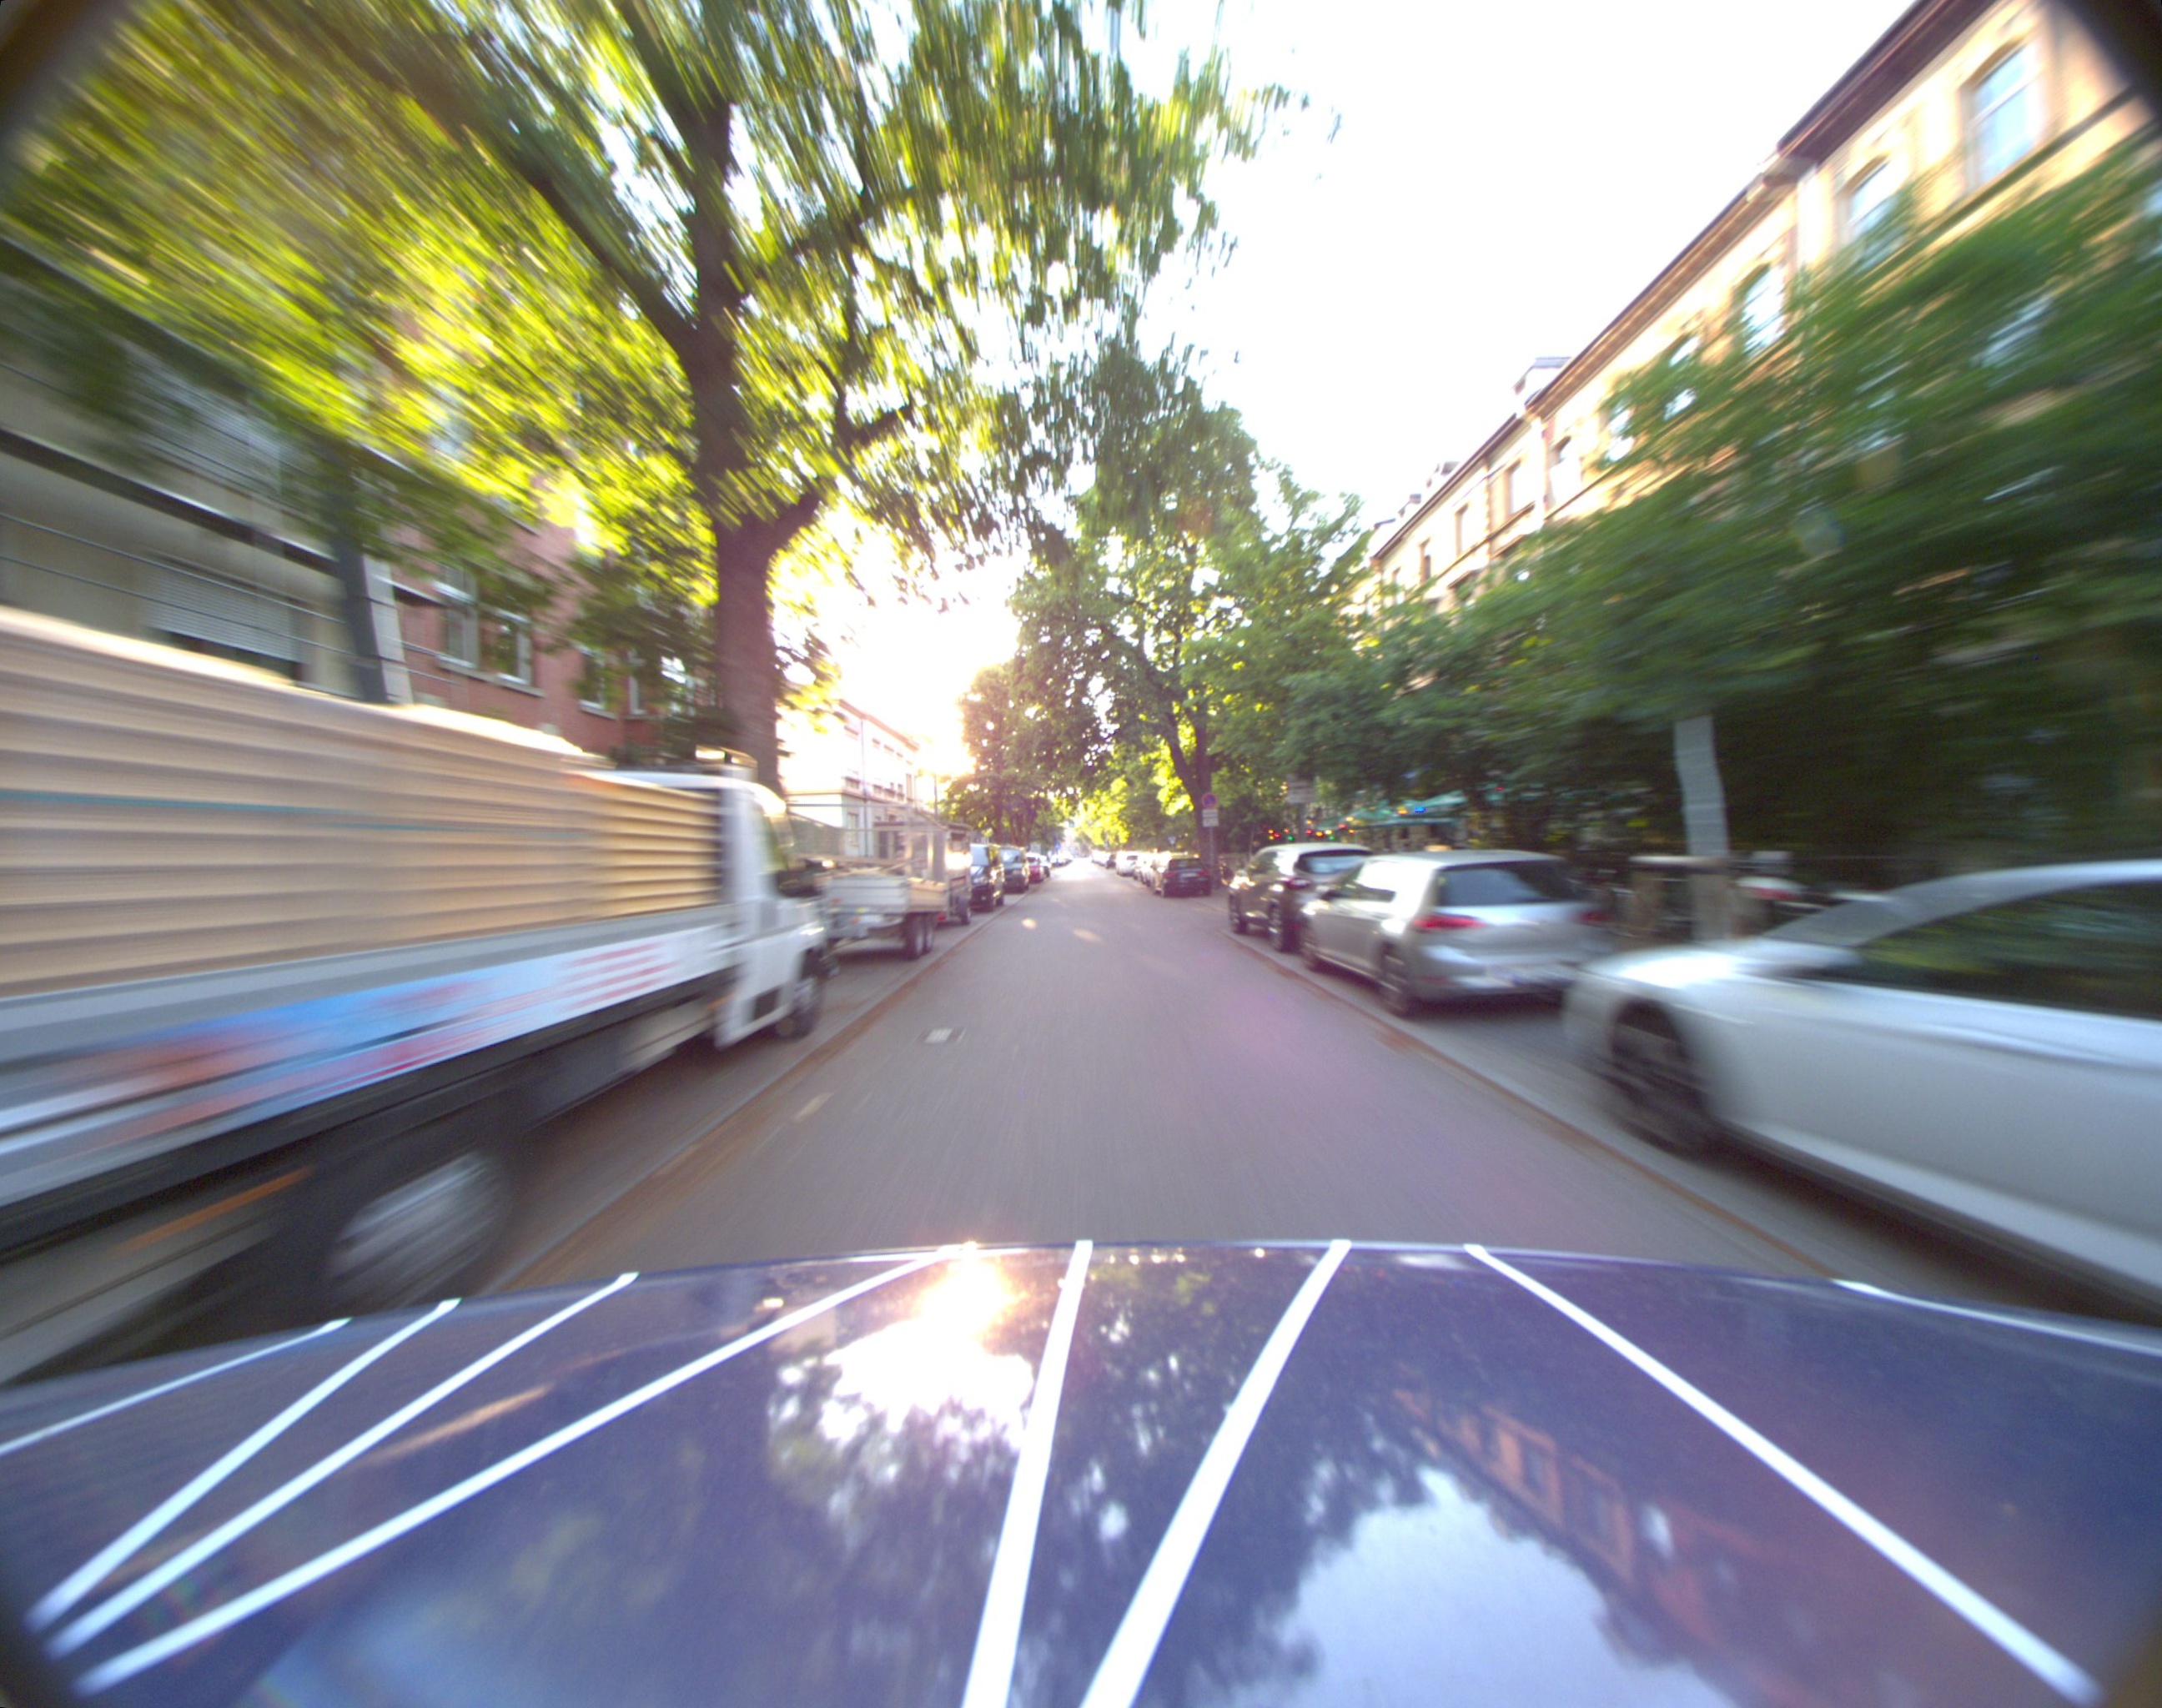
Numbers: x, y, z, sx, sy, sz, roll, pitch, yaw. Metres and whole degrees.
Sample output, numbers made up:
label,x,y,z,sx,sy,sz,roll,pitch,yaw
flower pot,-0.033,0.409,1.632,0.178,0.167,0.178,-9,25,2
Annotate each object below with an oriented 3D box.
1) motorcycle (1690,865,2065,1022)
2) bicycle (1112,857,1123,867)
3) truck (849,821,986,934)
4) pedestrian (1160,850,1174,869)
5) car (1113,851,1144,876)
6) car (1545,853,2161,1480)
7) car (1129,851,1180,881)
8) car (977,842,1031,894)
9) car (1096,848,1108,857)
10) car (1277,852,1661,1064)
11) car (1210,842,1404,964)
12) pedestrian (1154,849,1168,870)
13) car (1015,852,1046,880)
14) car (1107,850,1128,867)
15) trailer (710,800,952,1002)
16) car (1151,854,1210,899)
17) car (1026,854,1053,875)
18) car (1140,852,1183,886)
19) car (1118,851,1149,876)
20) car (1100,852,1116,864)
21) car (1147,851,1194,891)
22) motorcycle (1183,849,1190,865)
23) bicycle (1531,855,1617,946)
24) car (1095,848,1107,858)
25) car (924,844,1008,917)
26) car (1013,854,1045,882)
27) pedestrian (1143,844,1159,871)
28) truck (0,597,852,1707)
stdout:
label,x,y,z,sx,sy,sz,roll,pitch,yaw
motorcycle,7.361,0.719,7.363,0.584,1.149,2.891,-2,0,0
bicycle,4.077,0.906,85.597,0.606,1.031,1.806,-4,0,-15
truck,-3.545,0.493,17.429,1.959,2.233,4.646,1,0,2
pedestrian,7.172,0.455,63.373,0.688,1.621,1.051,-1,1,-26
car,3.420,0.675,55.215,1.669,1.667,3.846,-4,0,-4
car,3.561,0.798,1.975,1.694,1.493,4.738,-4,0,0
car,3.943,0.642,41.686,1.845,1.403,4.598,-4,0,-5
car,-3.248,0.587,33.033,1.959,2.046,4.830,1,0,-2
car,3.646,-0.205,132.480,1.617,1.433,4.104,-3,0,-2
car,3.479,0.777,7.897,1.694,1.493,4.401,-2,1,0
car,3.488,0.689,12.650,1.694,1.554,4.402,-4,0,-2
pedestrian,6.805,0.470,64.547,0.688,1.824,1.007,-1,1,-26
car,-3.179,0.738,47.226,1.669,1.668,4.117,1,-1,-7
car,3.867,0.492,80.801,1.871,1.677,4.592,-3,0,-1
trailer,-3.259,0.544,11.020,1.959,2.282,4.644,1,0,0
car,3.537,0.773,27.492,1.555,1.477,3.693,-1,0,-1
car,-3.131,0.780,57.438,1.735,1.547,3.963,1,-1,1
car,3.786,0.685,36.126,1.607,1.427,3.886,-4,0,1
car,3.493,0.636,50.913,1.668,1.484,3.710,-4,0,-1
car,3.523,0.532,99.235,1.617,1.433,3.753,-4,0,-3
car,3.718,0.695,32.086,1.555,1.477,3.694,-4,0,2
motorcycle,8.284,0.206,59.489,0.392,1.179,1.958,-3,0,10
bicycle,7.802,0.678,12.138,0.606,1.277,2.489,-1,0,20
car,3.343,-0.140,127.205,1.617,1.433,4.104,-3,0,-2
car,-3.274,0.732,22.476,1.844,1.931,4.613,1,0,-1
car,-2.884,0.779,42.541,1.669,1.491,3.693,1,-1,-2
pedestrian,5.295,0.244,57.695,0.869,2.002,1.008,-1,1,-20
truck,-3.124,0.627,3.934,1.982,2.231,6.774,-2,1,-2
